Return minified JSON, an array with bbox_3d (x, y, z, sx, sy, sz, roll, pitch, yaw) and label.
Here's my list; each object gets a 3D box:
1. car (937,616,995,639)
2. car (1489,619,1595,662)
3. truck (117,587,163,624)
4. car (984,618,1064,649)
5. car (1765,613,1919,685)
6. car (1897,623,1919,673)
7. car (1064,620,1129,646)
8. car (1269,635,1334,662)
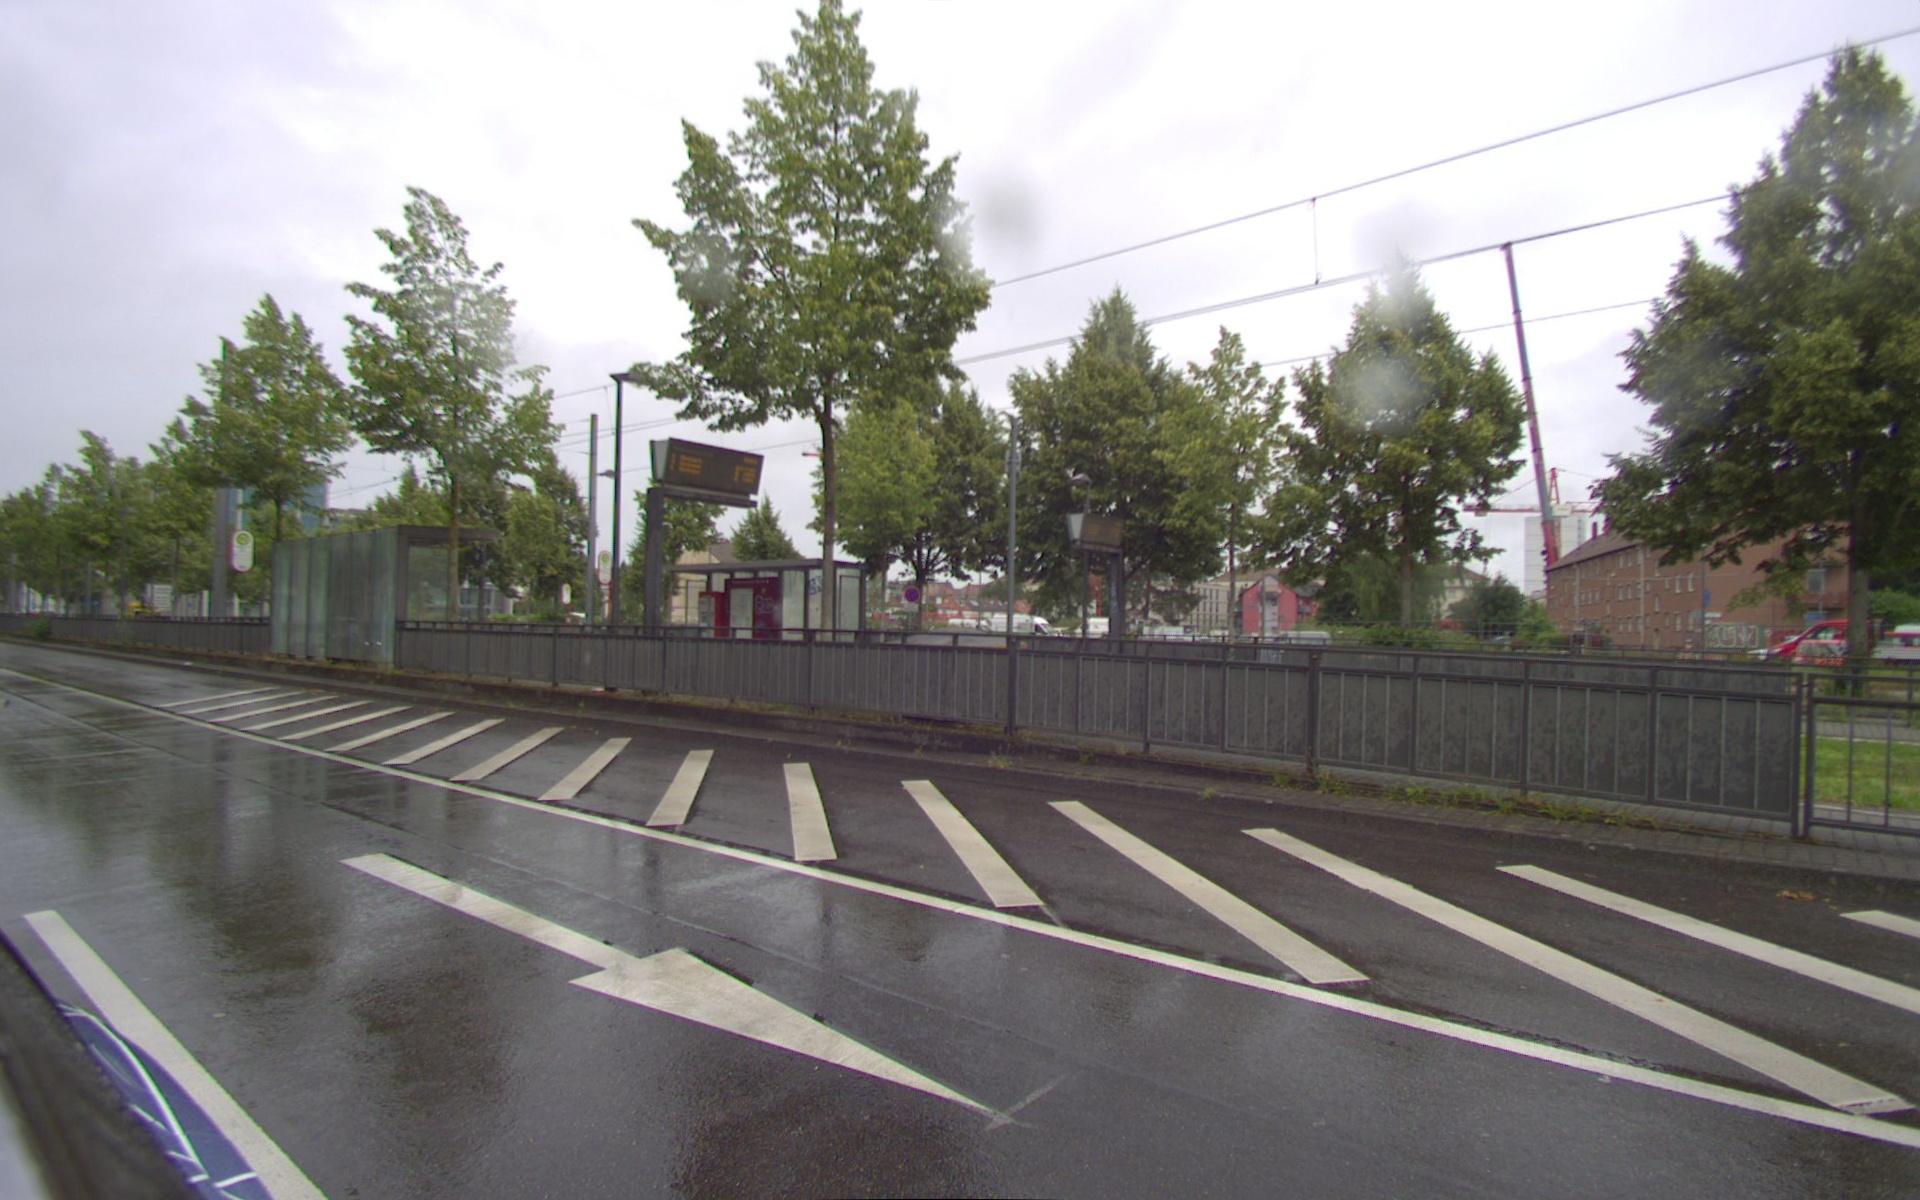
[{"bbox_3d":[0.611,2.961,108.318,6.123,2.323,1.978,0,0,32],"label":"car"},{"bbox_3d":[35.888,2.456,62.472,5.482,2.471,1.976,0,0,36],"label":"car"},{"bbox_3d":[-87.433,0.530,107.836,9.184,3.806,2.657,0,0,43],"label":"truck"},{"bbox_3d":[5.385,2.792,85.750,6.735,2.480,1.975,0,0,37],"label":"car"},{"bbox_3d":[33.513,1.752,36.730,1.597,2.489,6.500,2,-2,-39],"label":"car"},{"bbox_3d":[45.944,2.149,44.964,1.597,2.296,6.114,2,-3,-37],"label":"car"},{"bbox_3d":[11.934,2.881,88.751,5.412,2.067,1.976,0,0,37],"label":"car"},{"bbox_3d":[26.265,3.679,77.914,4.415,1.891,1.855,0,0,34],"label":"car"}]
